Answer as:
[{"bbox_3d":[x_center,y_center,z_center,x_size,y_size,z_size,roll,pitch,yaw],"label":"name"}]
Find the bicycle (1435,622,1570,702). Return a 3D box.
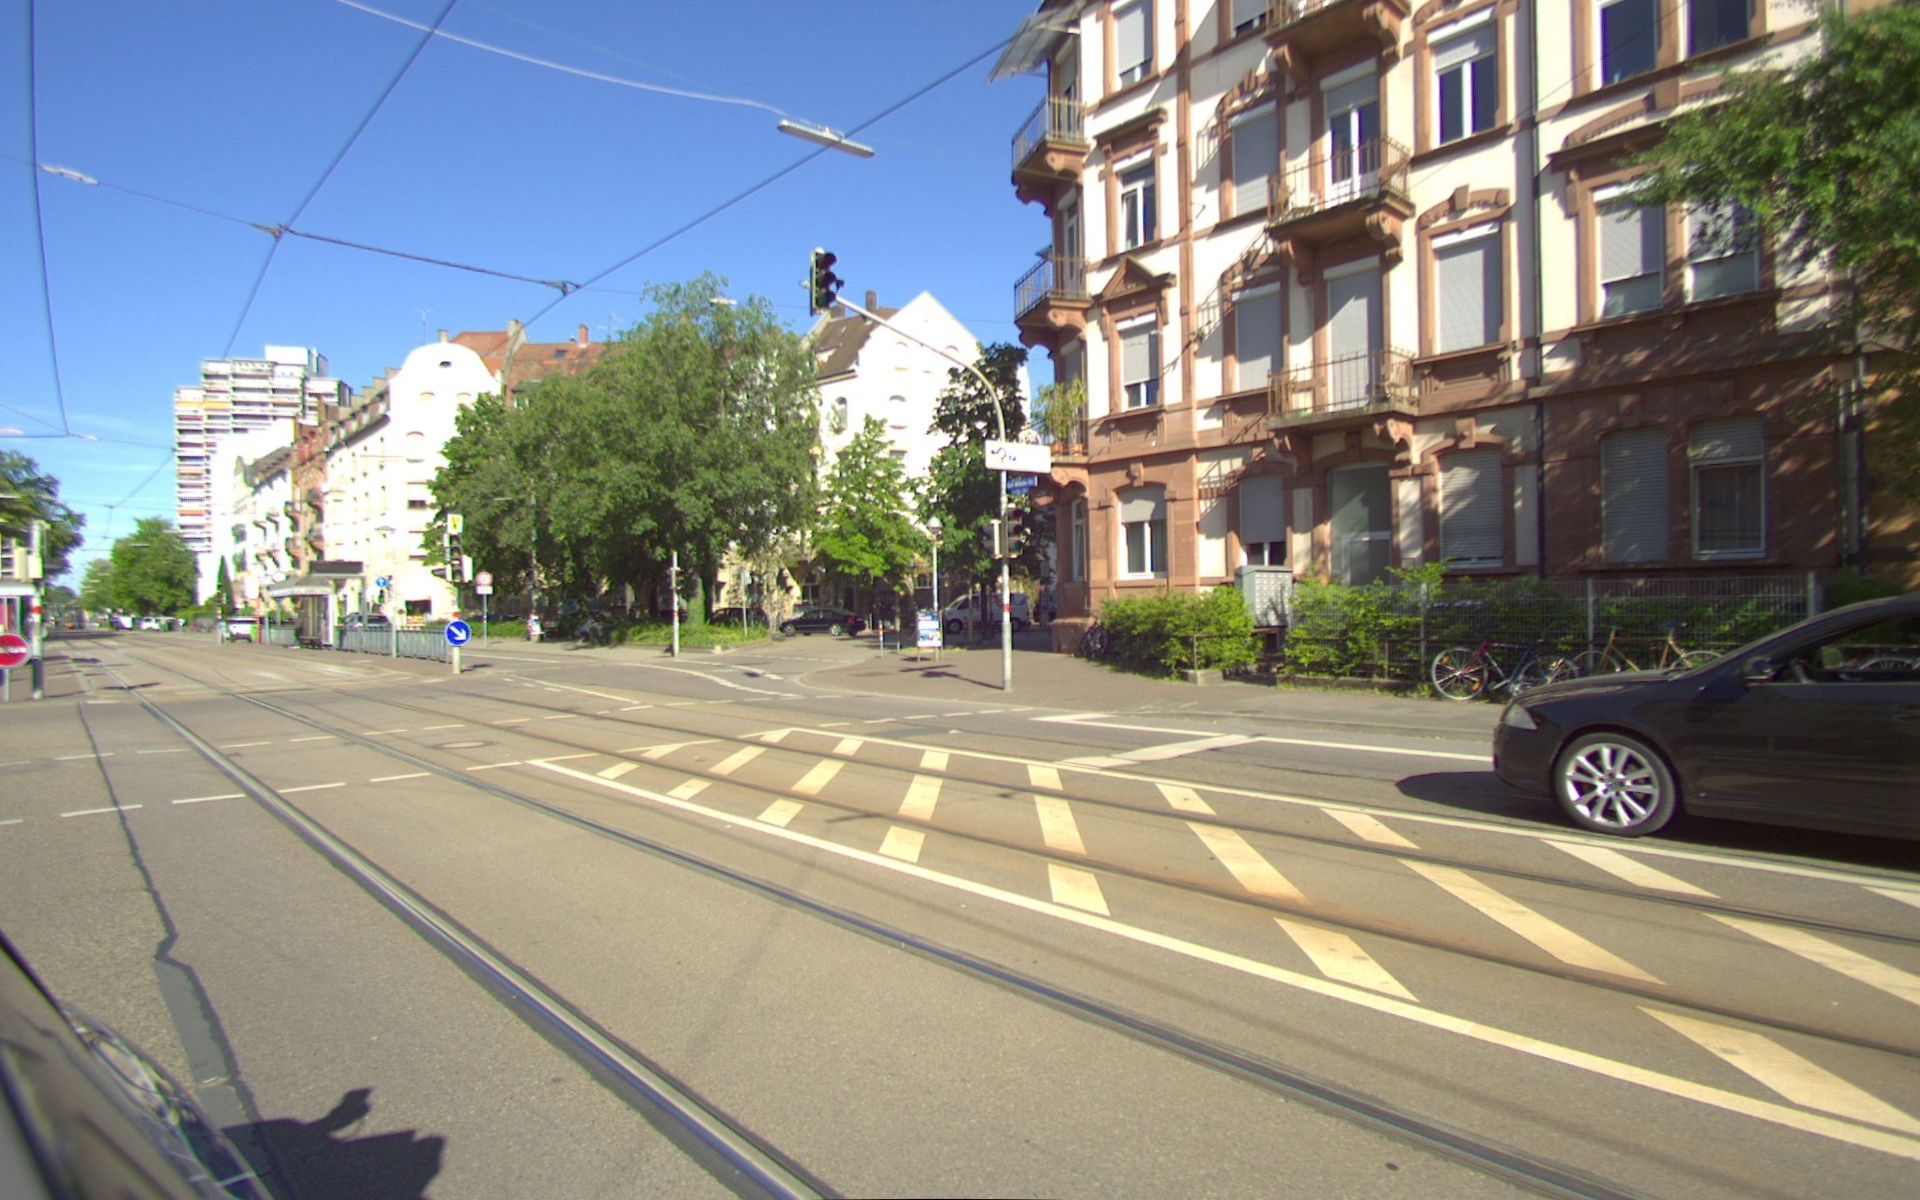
[{"bbox_3d":[6.769,0.750,12.683,0.337,0.933,1.455,-3,1,-38],"label":"bicycle"}]

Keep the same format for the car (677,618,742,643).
[{"bbox_3d":[-13.828,1.667,55.884,3.447,1.224,1.511,-2,1,33],"label":"car"}]

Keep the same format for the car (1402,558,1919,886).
[{"bbox_3d":[5.284,0.562,5.460,1.810,1.529,4.972,-5,2,-42],"label":"car"}]

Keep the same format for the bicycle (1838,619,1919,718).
[{"bbox_3d":[9.517,0.649,9.449,0.337,0.933,1.947,-3,1,-38],"label":"bicycle"}]

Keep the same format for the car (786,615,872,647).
[{"bbox_3d":[-6.550,1.542,50.529,3.993,1.554,1.725,-1,-1,25],"label":"car"}]

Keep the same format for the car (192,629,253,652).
[{"bbox_3d":[-62.774,3.427,86.176,1.818,1.600,3.833,4,5,42],"label":"car"}]

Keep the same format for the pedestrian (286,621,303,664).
[{"bbox_3d":[-28.122,1.778,42.743,0.459,1.798,0.674,-1,0,-44],"label":"pedestrian"}]

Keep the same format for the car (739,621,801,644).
[{"bbox_3d":[-9.943,1.694,52.866,3.141,1.103,1.450,-2,1,39],"label":"car"}]

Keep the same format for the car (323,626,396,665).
[{"bbox_3d":[-26.771,1.975,45.085,1.875,1.630,4.268,1,-1,-44],"label":"car"}]

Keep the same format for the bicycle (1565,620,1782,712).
[{"bbox_3d":[7.905,0.702,11.315,0.337,0.933,1.947,-3,1,-38],"label":"bicycle"}]

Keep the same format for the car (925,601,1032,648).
[{"bbox_3d":[0.870,1.140,49.361,4.776,1.956,1.931,-3,1,-15],"label":"car"}]

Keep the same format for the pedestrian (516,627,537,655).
[{"bbox_3d":[-20.833,1.987,48.641,0.649,1.291,0.725,-3,1,-42],"label":"pedestrian"}]

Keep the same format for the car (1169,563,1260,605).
[{"bbox_3d":[11.071,-0.694,44.081,3.397,1.613,1.720,-3,1,-20],"label":"car"}]

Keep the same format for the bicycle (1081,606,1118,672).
[{"bbox_3d":[2.999,0.814,21.842,0.414,1.306,2.046,-3,1,-1],"label":"bicycle"}]

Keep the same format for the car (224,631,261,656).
[{"bbox_3d":[-46.660,2.845,65.829,1.669,1.552,3.805,3,-3,-39],"label":"car"}]

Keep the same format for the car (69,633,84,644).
[{"bbox_3d":[-169.343,7.370,193.927,1.970,2.028,4.005,-3,1,-42],"label":"car"}]
